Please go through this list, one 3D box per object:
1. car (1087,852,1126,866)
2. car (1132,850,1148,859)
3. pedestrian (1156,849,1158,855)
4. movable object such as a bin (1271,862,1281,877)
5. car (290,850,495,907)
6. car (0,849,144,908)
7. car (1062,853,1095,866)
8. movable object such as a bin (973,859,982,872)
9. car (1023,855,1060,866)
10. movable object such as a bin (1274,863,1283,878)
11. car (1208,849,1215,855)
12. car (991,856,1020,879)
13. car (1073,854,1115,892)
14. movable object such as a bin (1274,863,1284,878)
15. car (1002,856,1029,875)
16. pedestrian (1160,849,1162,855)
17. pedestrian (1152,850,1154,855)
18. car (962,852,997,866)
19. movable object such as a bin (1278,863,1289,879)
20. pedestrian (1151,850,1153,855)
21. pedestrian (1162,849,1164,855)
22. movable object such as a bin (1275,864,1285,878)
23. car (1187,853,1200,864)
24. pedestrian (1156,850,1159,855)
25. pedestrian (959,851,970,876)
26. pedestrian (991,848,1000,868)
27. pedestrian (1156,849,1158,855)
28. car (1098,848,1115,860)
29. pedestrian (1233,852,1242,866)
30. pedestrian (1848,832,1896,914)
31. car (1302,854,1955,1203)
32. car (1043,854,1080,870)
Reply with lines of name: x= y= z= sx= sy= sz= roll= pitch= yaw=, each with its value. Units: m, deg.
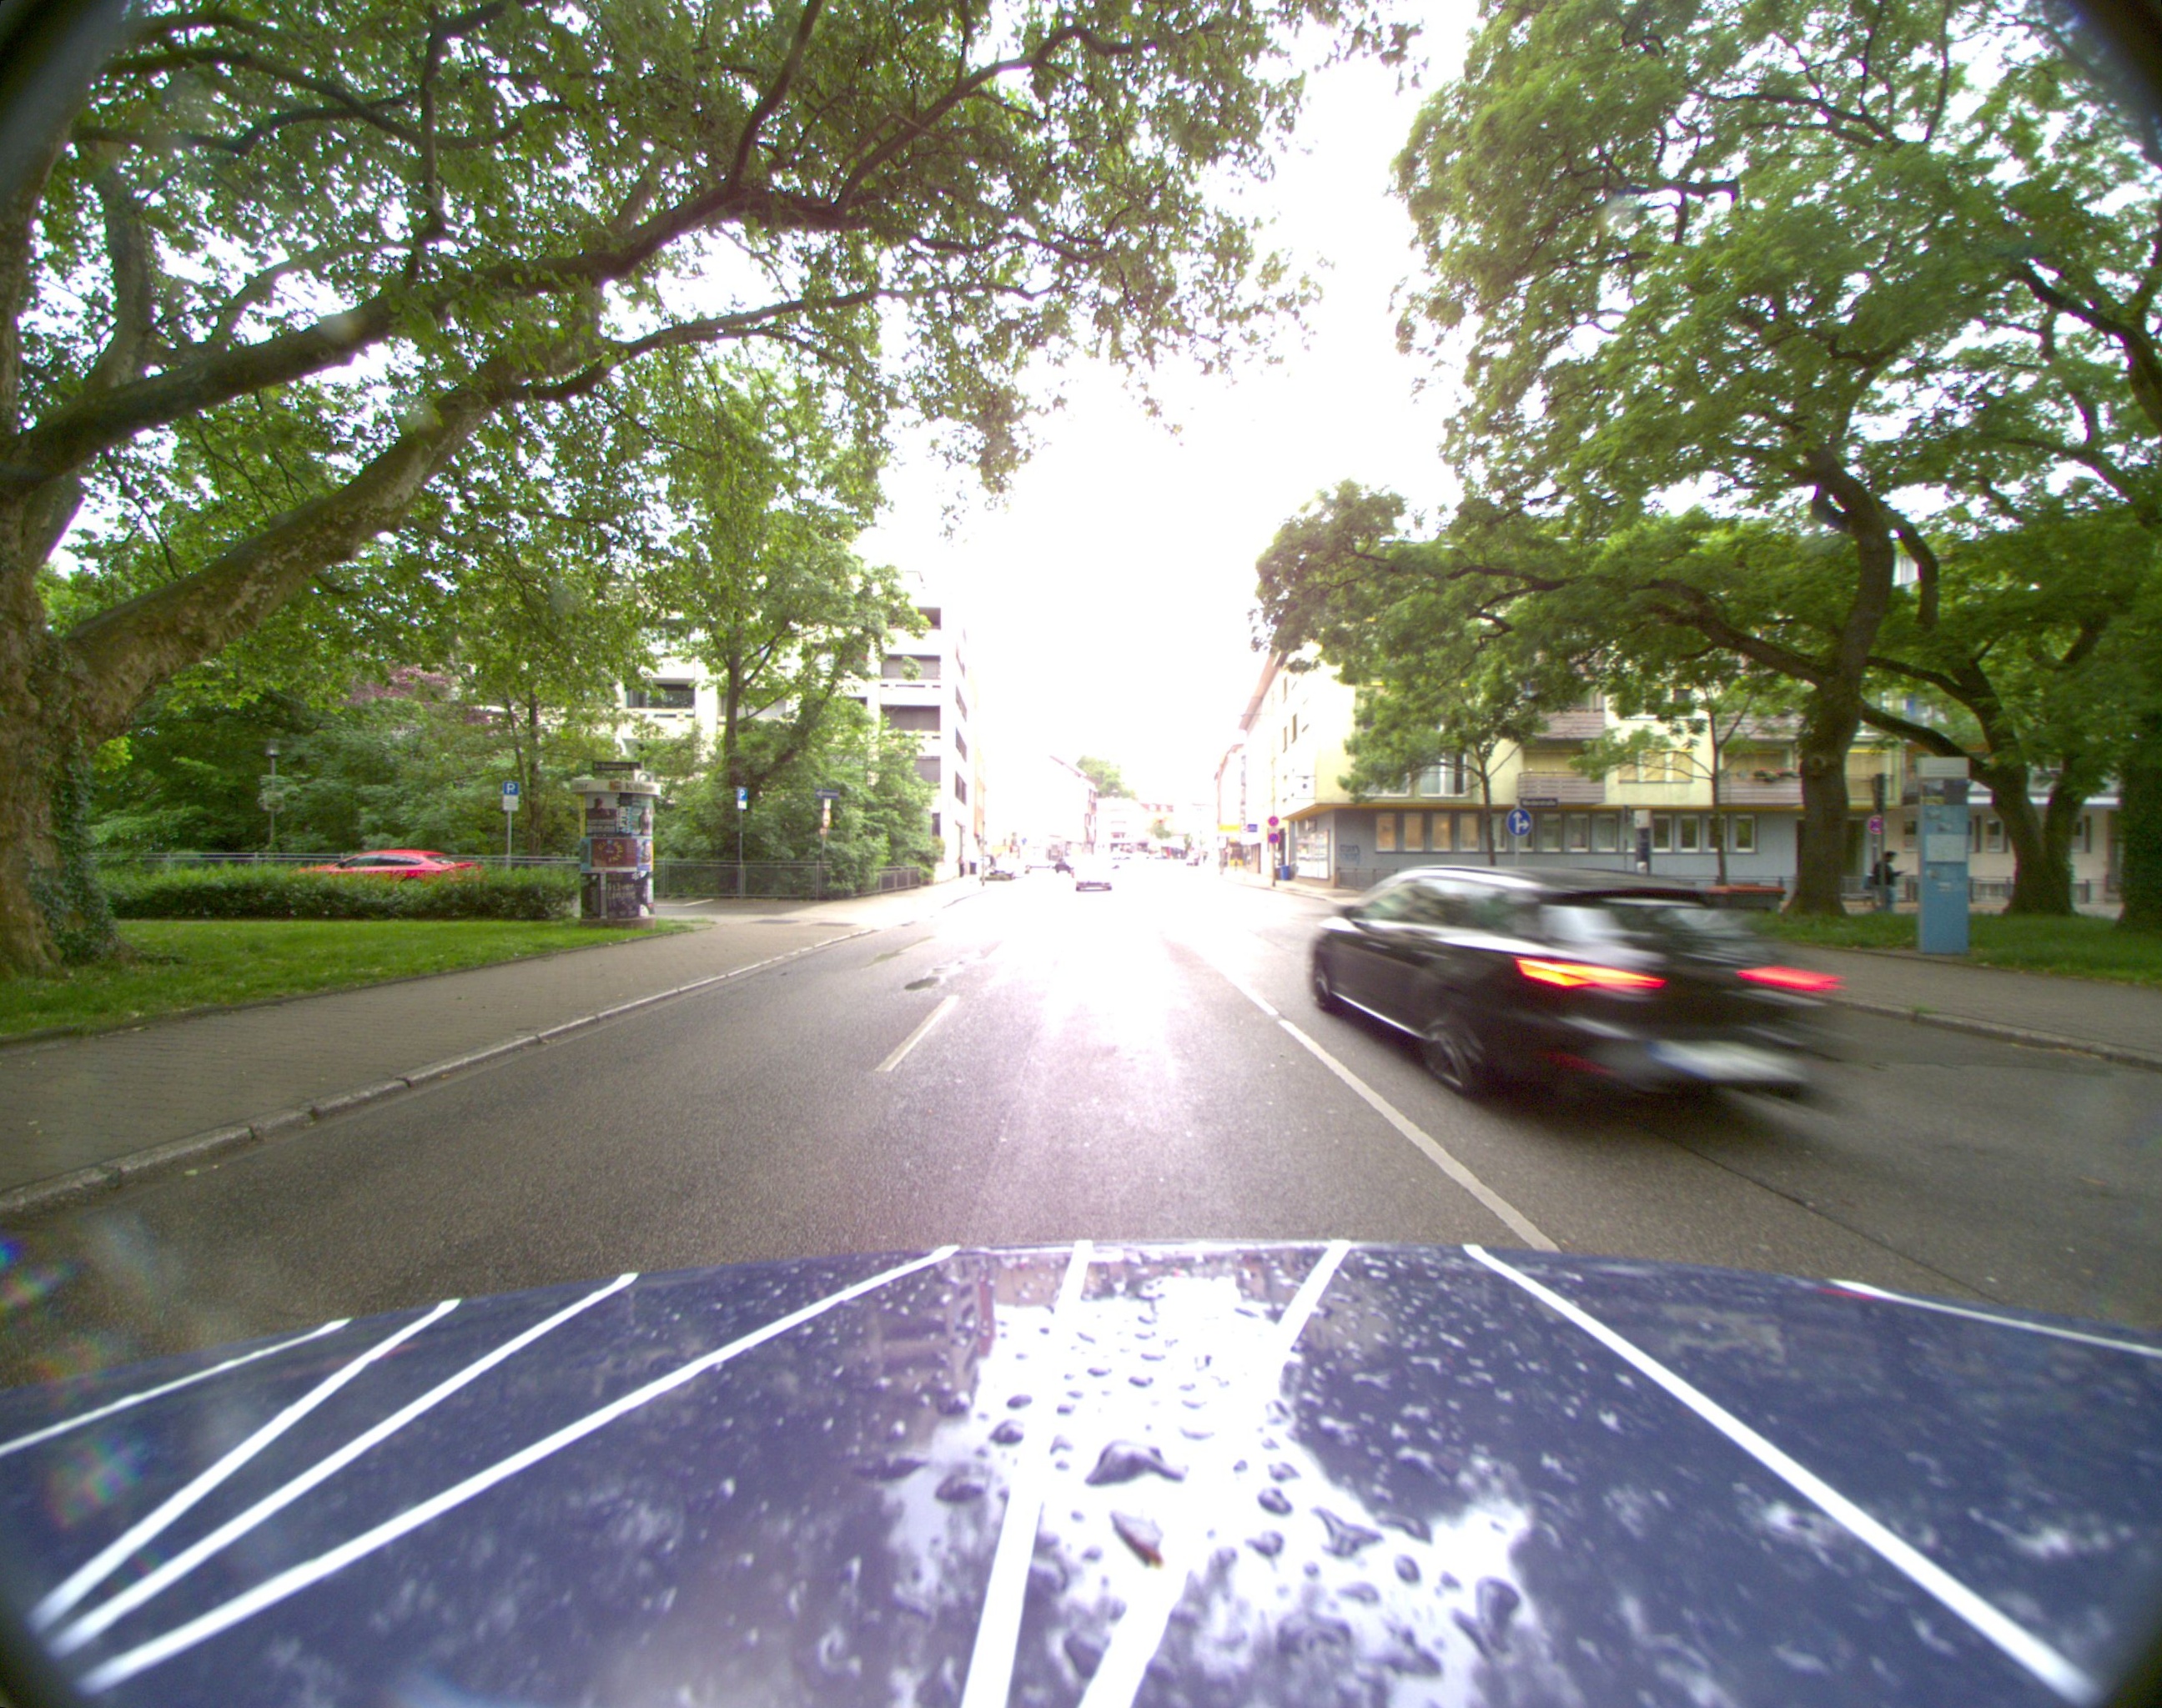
car: x=3.124 y=0.576 z=93.711 sx=4.687 sy=1.559 sz=1.758 roll=-2 pitch=0 yaw=2
car: x=12.693 y=0.071 z=162.890 sx=2.047 sy=1.754 sz=4.564 roll=1 pitch=0 yaw=-14
pedestrian: x=18.384 y=-0.446 z=183.105 sx=0.379 sy=1.283 sz=0.401 roll=0 pitch=1 yaw=38
movable object such as a bin: x=12.999 y=1.029 z=50.608 sx=0.517 sy=0.994 sz=0.524 roll=-4 pitch=0 yaw=8
car: x=-19.558 y=0.677 z=21.745 sx=3.999 sy=1.473 sz=1.875 roll=1 pitch=1 yaw=-5
car: x=-29.537 y=0.671 z=21.395 sx=3.932 sy=1.561 sz=1.735 roll=1 pitch=0 yaw=-4
car: x=-0.355 y=0.708 z=97.299 sx=4.196 sy=1.596 sz=1.481 roll=-1 pitch=0 yaw=1
movable object such as a bin: x=-8.593 y=0.945 z=62.874 sx=0.681 sy=1.097 sz=0.514 roll=0 pitch=1 yaw=-2
car: x=-4.821 y=0.811 z=93.594 sx=4.463 sy=1.377 sz=1.476 roll=0 pitch=0 yaw=1
movable object such as a bin: x=12.937 y=1.066 z=49.785 sx=0.465 sy=0.922 sz=0.428 roll=-4 pitch=0 yaw=8
car: x=33.223 y=-0.486 z=193.478 sx=1.591 sy=1.518 sz=3.491 roll=0 pitch=0 yaw=14
car: x=-5.324 y=0.928 z=53.660 sx=1.706 sy=1.549 sz=3.804 roll=1 pitch=0 yaw=-1
car: x=0.594 y=0.824 z=34.748 sx=1.756 sy=1.559 sz=4.000 roll=-2 pitch=0 yaw=1
movable object such as a bin: x=12.853 y=1.075 z=49.252 sx=0.529 sy=0.922 sz=0.426 roll=-4 pitch=0 yaw=8
car: x=-5.176 y=0.903 z=60.469 sx=1.835 sy=1.412 sz=4.569 roll=1 pitch=0 yaw=-1
pedestrian: x=18.906 y=-0.432 z=178.900 sx=0.379 sy=1.283 sz=0.401 roll=1 pitch=1 yaw=39
pedestrian: x=17.431 y=-0.420 z=184.502 sx=0.379 sy=1.283 sz=0.401 roll=0 pitch=1 yaw=38
car: x=-12.507 y=0.628 z=93.760 sx=4.157 sy=1.576 sz=1.801 roll=1 pitch=0 yaw=-1
movable object such as a bin: x=12.831 y=1.070 z=48.200 sx=0.529 sy=0.955 sz=0.435 roll=-4 pitch=0 yaw=8
pedestrian: x=16.783 y=-0.355 z=180.395 sx=0.379 sy=1.283 sz=0.401 roll=1 pitch=1 yaw=38
pedestrian: x=19.022 y=-0.419 z=176.868 sx=0.399 sy=1.283 sz=0.380 roll=0 pitch=1 yaw=10
movable object such as a bin: x=12.781 y=1.098 z=48.719 sx=0.529 sy=0.890 sz=0.435 roll=-4 pitch=0 yaw=8
car: x=17.956 y=0.697 z=121.376 sx=1.834 sy=1.612 sz=4.003 roll=0 pitch=0 yaw=10
pedestrian: x=18.007 y=-0.399 z=178.876 sx=0.379 sy=1.283 sz=0.401 roll=1 pitch=1 yaw=40
pedestrian: x=-8.027 y=0.650 z=52.423 sx=0.599 sy=1.650 sz=0.691 roll=3 pitch=0 yaw=-7
pedestrian: x=-9.347 y=0.471 z=83.007 sx=0.806 sy=2.140 sz=0.737 roll=0 pitch=1 yaw=-23
pedestrian: x=18.548 y=-0.477 z=185.669 sx=0.379 sy=1.283 sz=0.401 roll=1 pitch=1 yaw=39
car: x=3.924 y=0.033 z=114.409 sx=2.016 sy=1.754 sz=4.765 roll=1 pitch=0 yaw=8
pedestrian: x=16.985 y=0.543 z=82.663 sx=0.785 sy=1.578 sz=0.674 roll=-2 pitch=0 yaw=21
pedestrian: x=19.994 y=0.470 z=19.232 sx=0.780 sy=2.002 sz=0.754 roll=1 pitch=1 yaw=43
car: x=3.170 y=0.819 z=5.635 sx=1.850 sy=1.616 sz=4.137 roll=1 pitch=0 yaw=0
car: x=-2.068 y=0.829 z=79.527 sx=1.805 sy=1.575 sz=4.149 roll=1 pitch=0 yaw=-36
